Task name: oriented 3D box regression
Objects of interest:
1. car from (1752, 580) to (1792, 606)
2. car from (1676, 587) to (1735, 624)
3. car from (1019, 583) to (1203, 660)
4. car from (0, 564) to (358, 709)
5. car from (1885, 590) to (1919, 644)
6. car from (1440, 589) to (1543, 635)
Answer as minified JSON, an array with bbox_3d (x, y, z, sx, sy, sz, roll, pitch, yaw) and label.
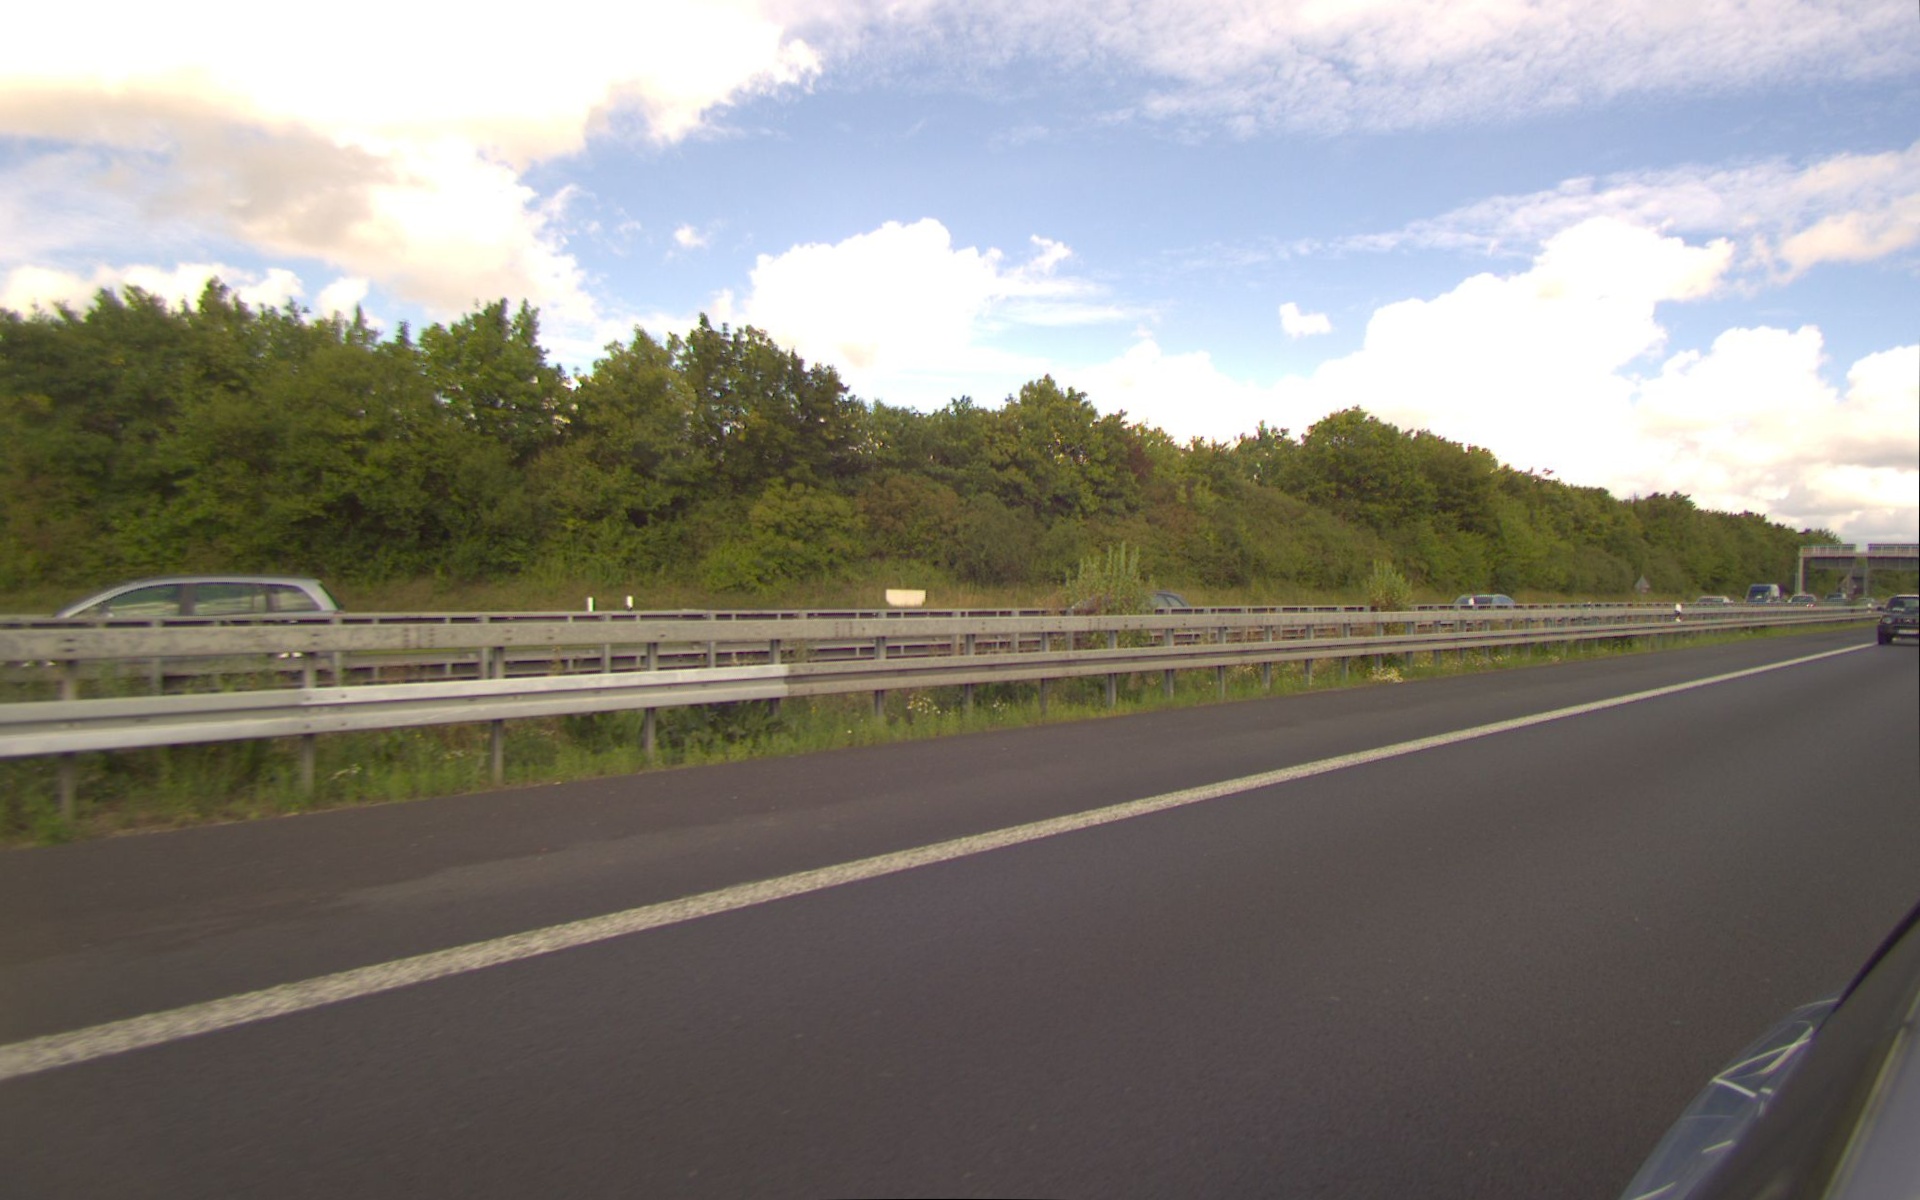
[{"bbox_3d":[72.528,-0.650,90.369,5.042,2.213,1.996,0,2,-43],"label":"car"},{"bbox_3d":[44.046,0.279,59.794,3.931,2.038,1.997,0,3,-42],"label":"car"},{"bbox_3d":[3.372,0.404,22.289,3.933,1.503,1.996,-1,2,-43],"label":"car"},{"bbox_3d":[-11.008,0.404,14.365,3.931,1.729,1.997,0,3,-42],"label":"car"},{"bbox_3d":[33.273,0.564,34.768,4.133,1.754,1.670,0,2,-41],"label":"car"},{"bbox_3d":[19.295,0.382,36.669,4.238,1.503,1.996,-1,2,-43],"label":"car"}]
